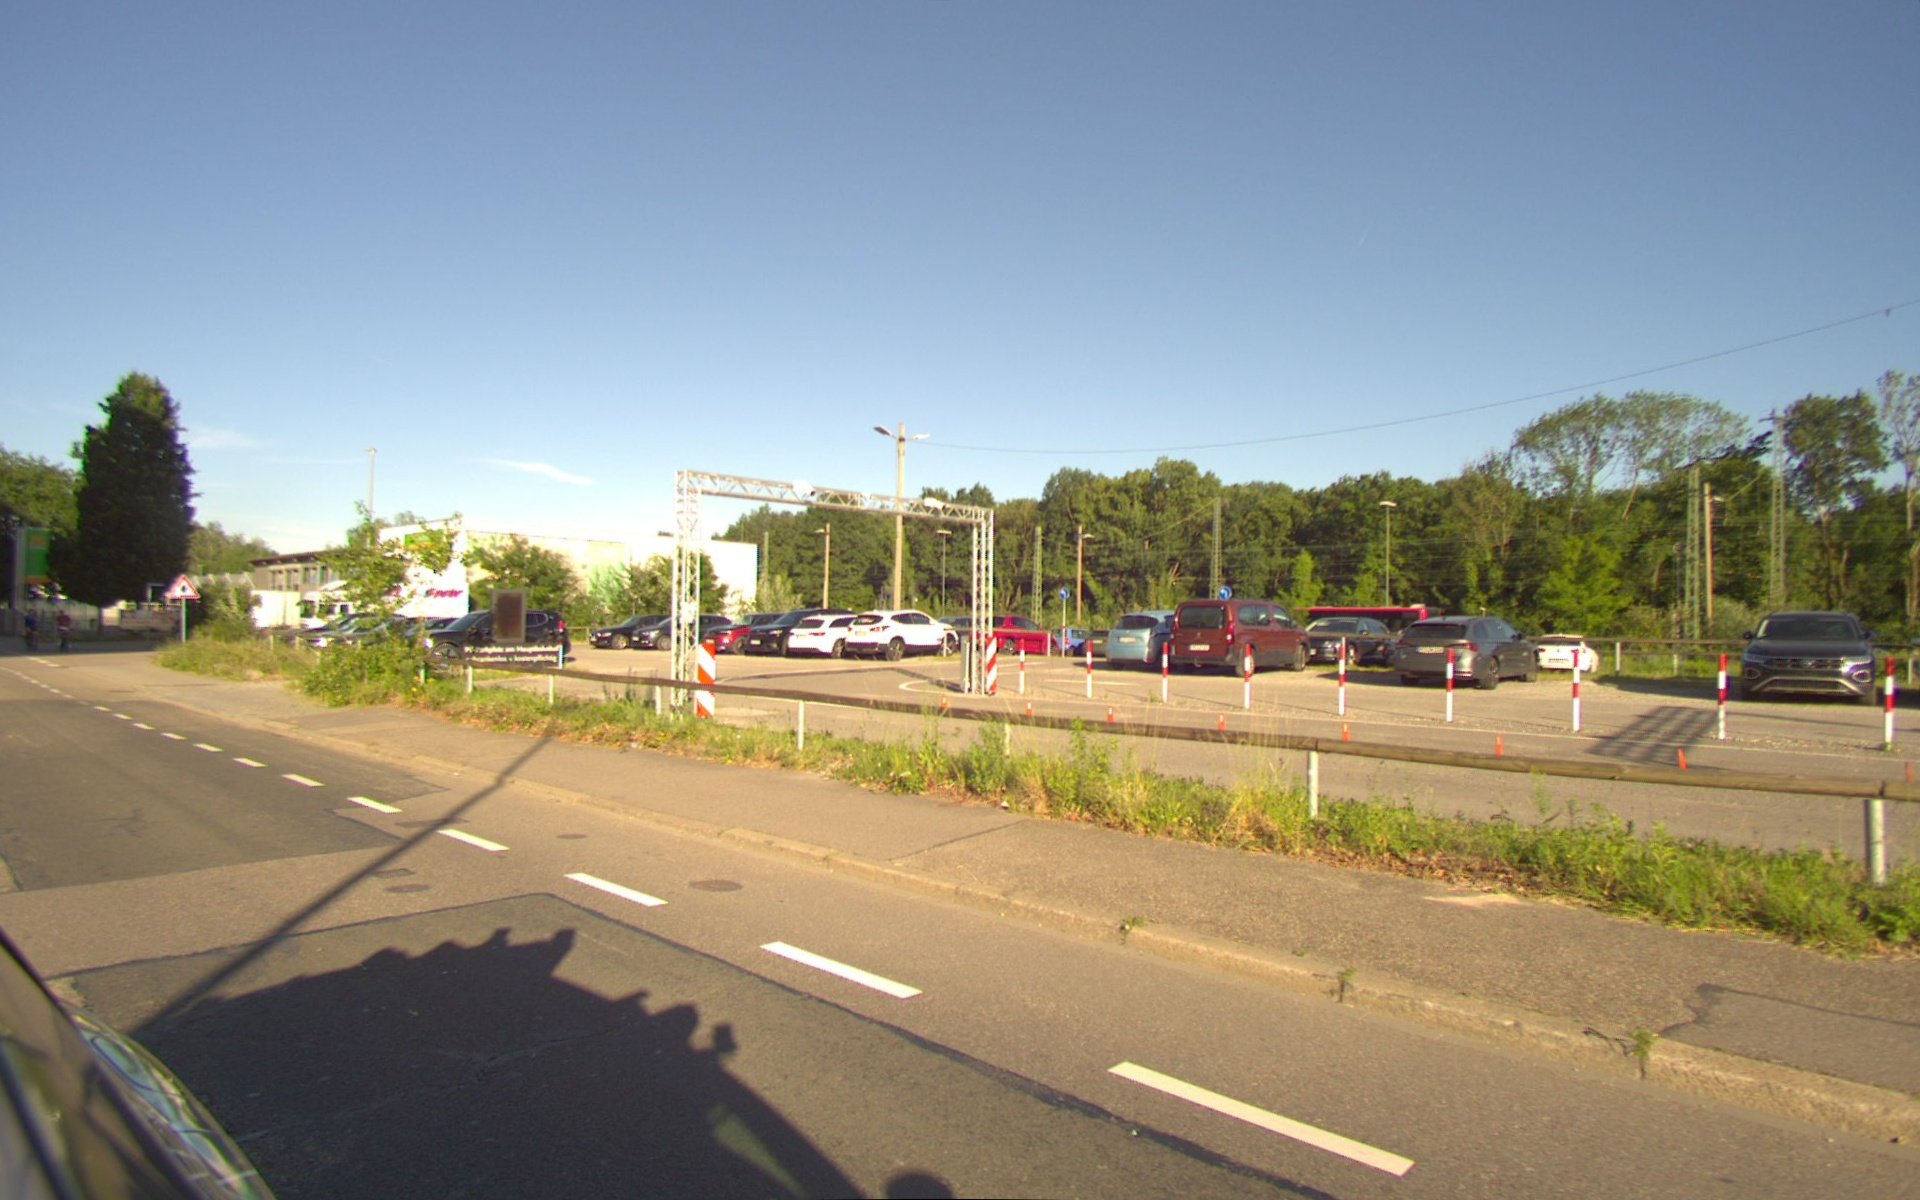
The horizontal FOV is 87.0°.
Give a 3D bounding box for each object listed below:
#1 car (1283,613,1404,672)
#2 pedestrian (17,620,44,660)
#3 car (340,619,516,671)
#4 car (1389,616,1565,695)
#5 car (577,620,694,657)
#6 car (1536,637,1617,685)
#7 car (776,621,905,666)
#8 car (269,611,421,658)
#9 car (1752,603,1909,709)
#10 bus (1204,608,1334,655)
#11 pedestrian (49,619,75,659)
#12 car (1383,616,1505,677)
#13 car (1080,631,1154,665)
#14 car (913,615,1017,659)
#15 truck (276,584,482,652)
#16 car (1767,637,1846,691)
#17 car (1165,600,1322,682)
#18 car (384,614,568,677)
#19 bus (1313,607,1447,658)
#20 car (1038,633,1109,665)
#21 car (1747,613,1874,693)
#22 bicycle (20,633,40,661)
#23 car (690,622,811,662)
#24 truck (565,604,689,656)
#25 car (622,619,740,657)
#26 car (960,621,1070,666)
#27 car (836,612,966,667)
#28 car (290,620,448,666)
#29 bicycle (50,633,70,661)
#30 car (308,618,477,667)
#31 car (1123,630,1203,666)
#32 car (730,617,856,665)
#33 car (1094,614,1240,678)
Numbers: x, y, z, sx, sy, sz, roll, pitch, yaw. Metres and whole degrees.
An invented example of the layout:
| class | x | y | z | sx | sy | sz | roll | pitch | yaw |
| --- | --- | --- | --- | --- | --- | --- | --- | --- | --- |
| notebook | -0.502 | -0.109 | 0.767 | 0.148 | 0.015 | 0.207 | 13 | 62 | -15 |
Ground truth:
| class | x | y | z | sx | sy | sz | roll | pitch | yaw |
| --- | --- | --- | --- | --- | --- | --- | --- | --- | --- |
| car | 10.773 | 1.155 | 28.303 | 1.936 | 1.519 | 3.945 | -2 | -2 | 41 |
| pedestrian | -40.426 | 1.727 | 44.014 | 1.057 | 1.734 | 0.713 | -1 | -2 | 42 |
| car | -16.392 | 1.354 | 31.315 | 2.049 | 1.473 | 4.379 | -1 | -2 | 43 |
| car | 10.979 | 1.087 | 21.344 | 4.523 | 1.492 | 1.992 | 1 | -2 | -45 |
| car | -13.878 | 1.638 | 43.470 | 2.046 | 1.476 | 4.359 | -1 | -2 | 38 |
| car | 20.826 | 2.016 | 34.133 | 1.725 | 1.493 | 3.569 | -1 | -3 | 41 |
| car | -3.998 | 1.442 | 34.360 | 2.046 | 1.408 | 4.120 | -1 | -2 | 38 |
| car | -22.520 | 1.253 | 37.188 | 2.049 | 1.593 | 4.379 | -1 | -2 | 43 |
| car | 15.262 | 0.901 | 17.685 | 1.857 | 1.597 | 4.526 | -2 | -2 | 43 |
| bus | 16.445 | 1.648 | 54.041 | 6.206 | 2.366 | 2.511 | -1 | -3 | 44 |
| pedestrian | -39.550 | 1.690 | 44.585 | 1.057 | 1.734 | 0.713 | -1 | -2 | 42 |
| car | 12.737 | 1.178 | 26.542 | 1.894 | 1.477 | 3.945 | -2 | -2 | 41 |
| car | 7.243 | 2.204 | 46.541 | 1.725 | 1.493 | 3.569 | -1 | -3 | 41 |
| car | 0.220 | 1.381 | 38.435 | 1.912 | 1.561 | 3.947 | -1 | -2 | 39 |
| truck | -33.371 | 1.022 | 58.657 | 2.775 | 3.642 | 9.992 | 0 | -1 | 41 |
| car | 25.396 | 1.882 | 30.337 | 1.725 | 1.493 | 3.569 | -1 | -3 | 41 |
| car | 7.070 | 0.966 | 24.938 | 1.857 | 1.819 | 4.526 | -2 | -2 | 43 |
| car | -14.024 | 1.288 | 29.502 | 2.049 | 1.683 | 4.379 | -1 | -2 | 43 |
| bus | 20.671 | 1.576 | 49.964 | 5.590 | 2.366 | 2.511 | -1 | -3 | 44 |
| car | 5.492 | 2.345 | 48.728 | 1.725 | 1.493 | 3.569 | -1 | -3 | 41 |
| car | 18.451 | 1.076 | 21.879 | 1.878 | 1.535 | 4.274 | -2 | -2 | 43 |
| bicycle | -40.451 | 2.015 | 44.012 | 2.201 | 1.157 | 0.441 | -1 | -1 | 42 |
| car | -7.793 | 1.541 | 37.987 | 2.046 | 1.408 | 4.120 | -1 | -2 | 38 |
| truck | -18.903 | 1.730 | 57.791 | 2.315 | 2.829 | 6.427 | -1 | -2 | 41 |
| car | -11.531 | 1.560 | 41.997 | 2.046 | 1.476 | 4.359 | -1 | -2 | 38 |
| car | 2.054 | 1.565 | 36.934 | 1.964 | 1.541 | 4.119 | -1 | -2 | 39 |
| car | -1.858 | 1.267 | 33.015 | 1.964 | 1.674 | 4.119 | -1 | -2 | 39 |
| car | -20.581 | 1.474 | 35.372 | 2.049 | 1.473 | 4.379 | -1 | -2 | 43 |
| bicycle | -39.746 | 2.058 | 44.686 | 1.869 | 1.157 | 0.465 | -1 | -1 | 42 |
| car | -18.398 | 1.344 | 32.957 | 2.049 | 1.473 | 4.379 | -1 | -2 | 43 |
| car | 8.895 | 2.063 | 44.256 | 1.936 | 1.493 | 3.569 | -1 | -3 | 41 |
| car | -5.856 | 1.434 | 35.948 | 2.046 | 1.590 | 4.120 | -1 | -2 | 38 |
| car | 5.615 | 1.174 | 27.093 | 1.857 | 1.557 | 4.319 | -2 | -2 | 43 |
